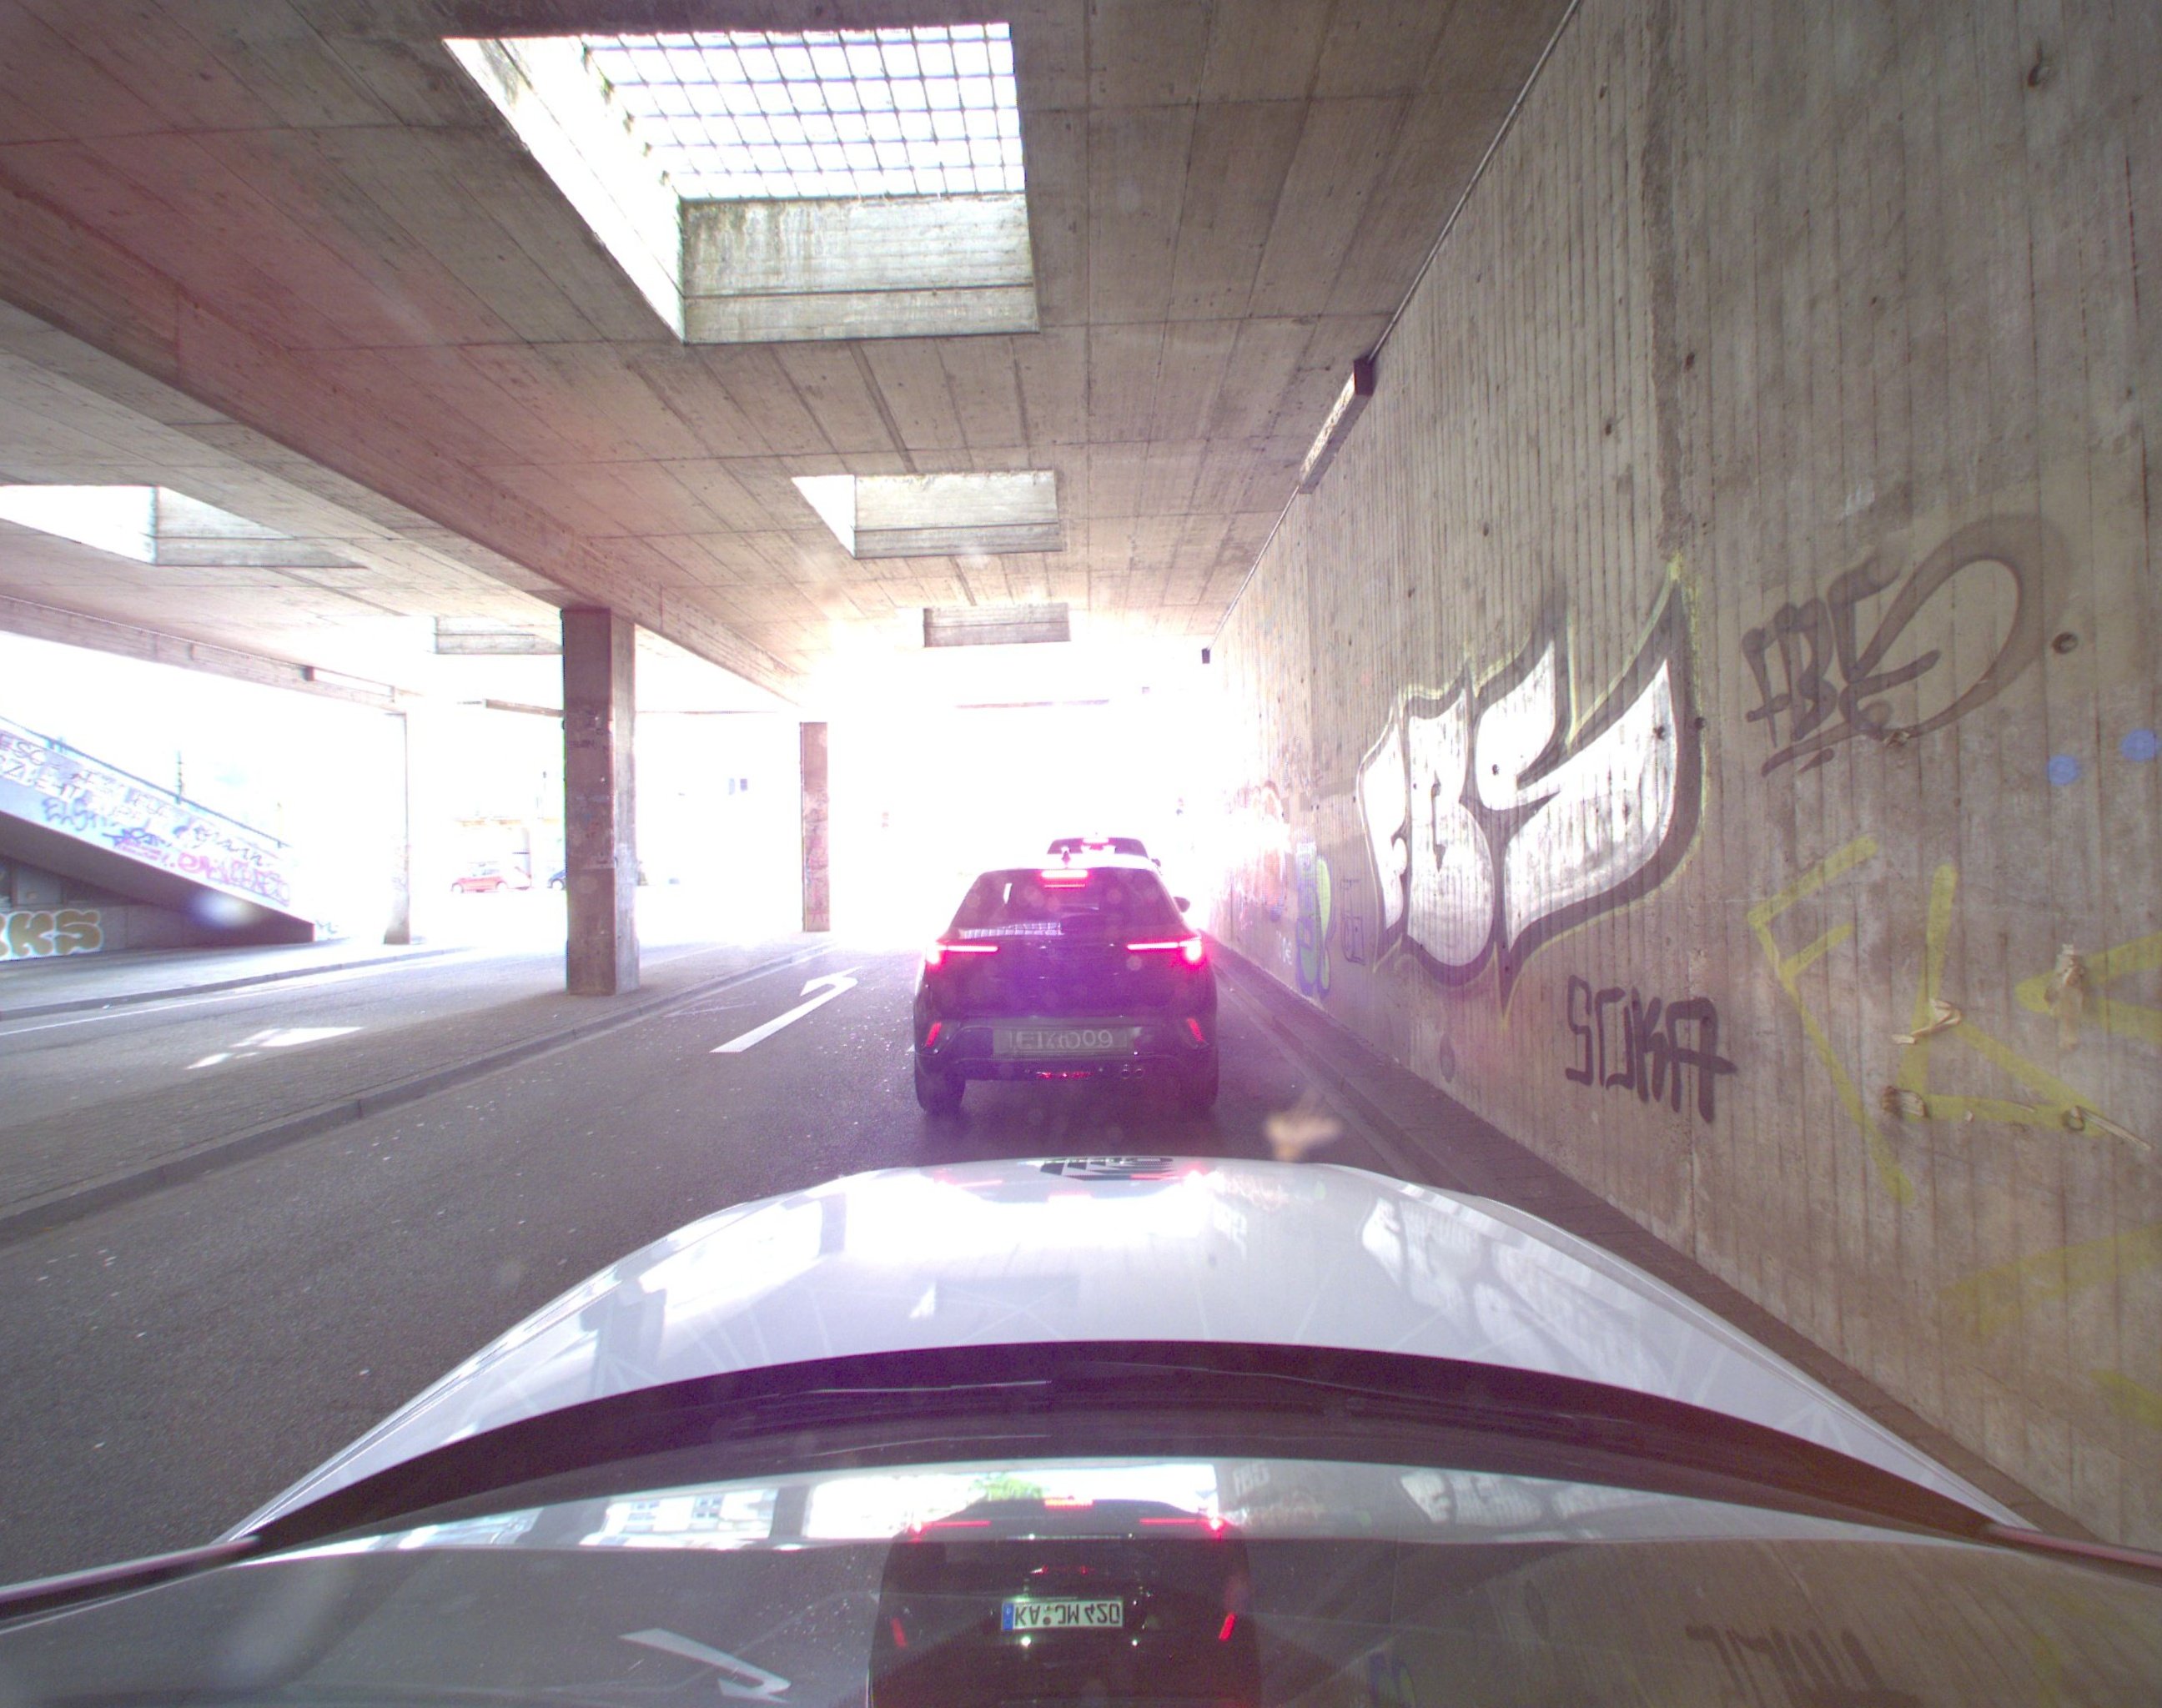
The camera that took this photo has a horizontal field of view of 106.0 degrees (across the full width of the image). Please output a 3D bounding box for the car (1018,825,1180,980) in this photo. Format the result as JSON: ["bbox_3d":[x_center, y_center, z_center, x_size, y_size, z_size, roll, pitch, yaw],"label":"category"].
[{"bbox_3d":[0.286,0.599,12.023,1.938,1.860,3.966,-2,0,2],"label":"car"}]

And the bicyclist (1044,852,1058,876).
[{"bbox_3d":[-1.968,0.652,53.189,0.724,1.581,0.817,-1,-1,11],"label":"bicyclist"}]

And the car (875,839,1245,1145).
[{"bbox_3d":[-0.046,0.716,6.203,1.875,1.538,3.966,-2,0,2],"label":"car"}]

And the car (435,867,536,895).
[{"bbox_3d":[-33.011,1.467,45.254,3.970,1.374,2.192,-1,0,3],"label":"car"}]

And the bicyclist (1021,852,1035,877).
[{"bbox_3d":[-3.377,0.651,51.793,0.724,1.581,0.817,-1,-1,11],"label":"bicyclist"}]

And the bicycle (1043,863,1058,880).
[{"bbox_3d":[-1.970,1.110,53.153,0.621,1.067,1.694,-1,-1,11],"label":"bicycle"}]

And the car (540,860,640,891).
[{"bbox_3d":[-27.207,1.178,45.255,4.114,1.550,2.268,-1,0,1],"label":"car"}]

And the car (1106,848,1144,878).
[{"bbox_3d":[2.410,0.508,44.281,1.959,1.497,3.900,-2,-2,4],"label":"car"}]

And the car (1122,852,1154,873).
[{"bbox_3d":[4.407,0.649,62.266,1.955,1.497,3.908,-2,-2,11],"label":"car"}]

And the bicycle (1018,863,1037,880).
[{"bbox_3d":[-3.387,1.109,51.759,0.727,1.067,1.694,-1,-1,11],"label":"bicycle"}]

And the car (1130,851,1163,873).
[{"bbox_3d":[5.590,0.694,69.052,2.206,1.719,4.474,-2,-2,12],"label":"car"}]
